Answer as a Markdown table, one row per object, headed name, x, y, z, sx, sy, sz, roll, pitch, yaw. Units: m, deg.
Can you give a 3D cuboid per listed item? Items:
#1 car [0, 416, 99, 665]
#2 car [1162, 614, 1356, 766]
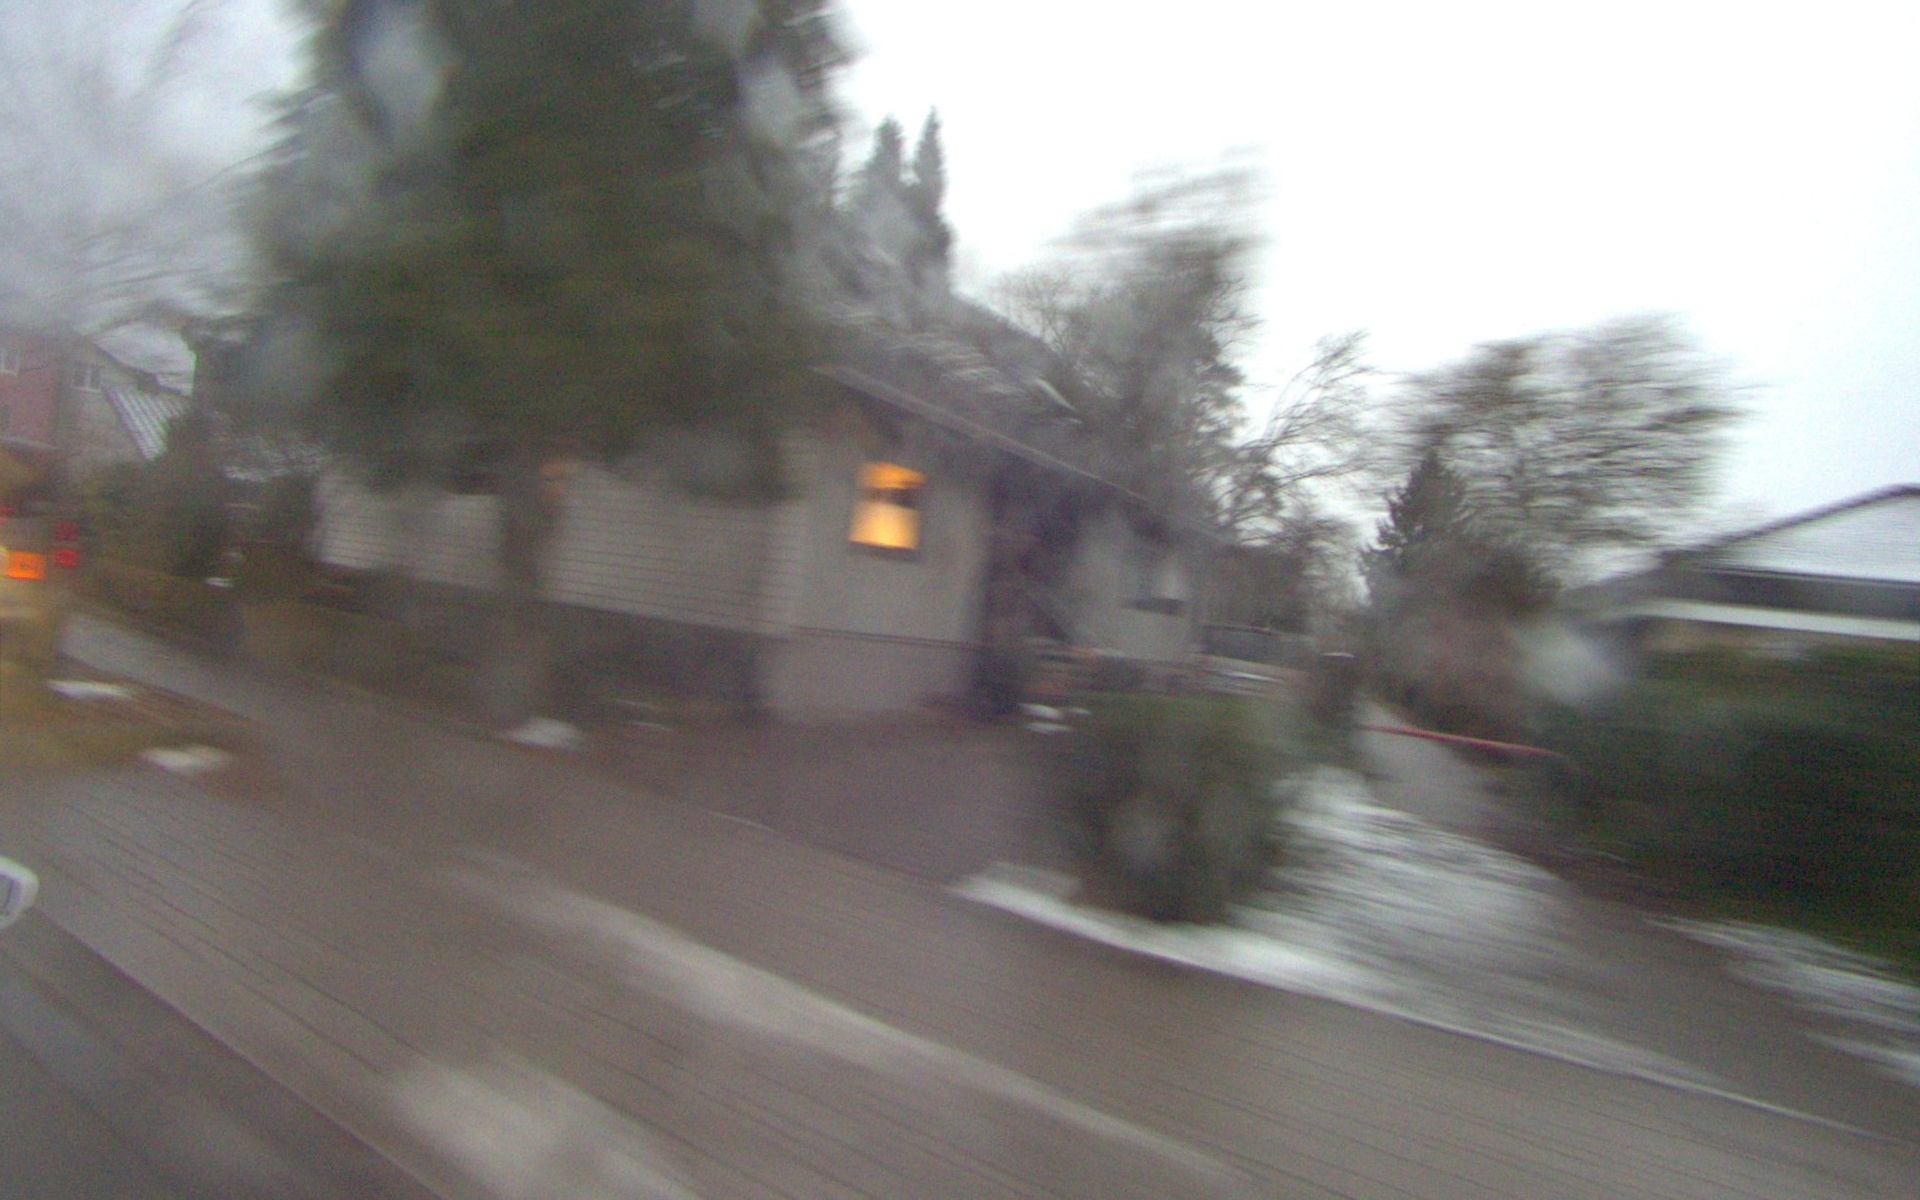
| name | x | y | z | sx | sy | sz | roll | pitch | yaw |
| --- | --- | --- | --- | --- | --- | --- | --- | --- | --- |
| car | -10.459 | -0.800 | 9.465 | 5.651 | 2.040 | 1.978 | 7 | 2 | 33 |
| car | 4.587 | 1.308 | 15.011 | 1.861 | 1.665 | 3.997 | 9 | 0 | 27 |
